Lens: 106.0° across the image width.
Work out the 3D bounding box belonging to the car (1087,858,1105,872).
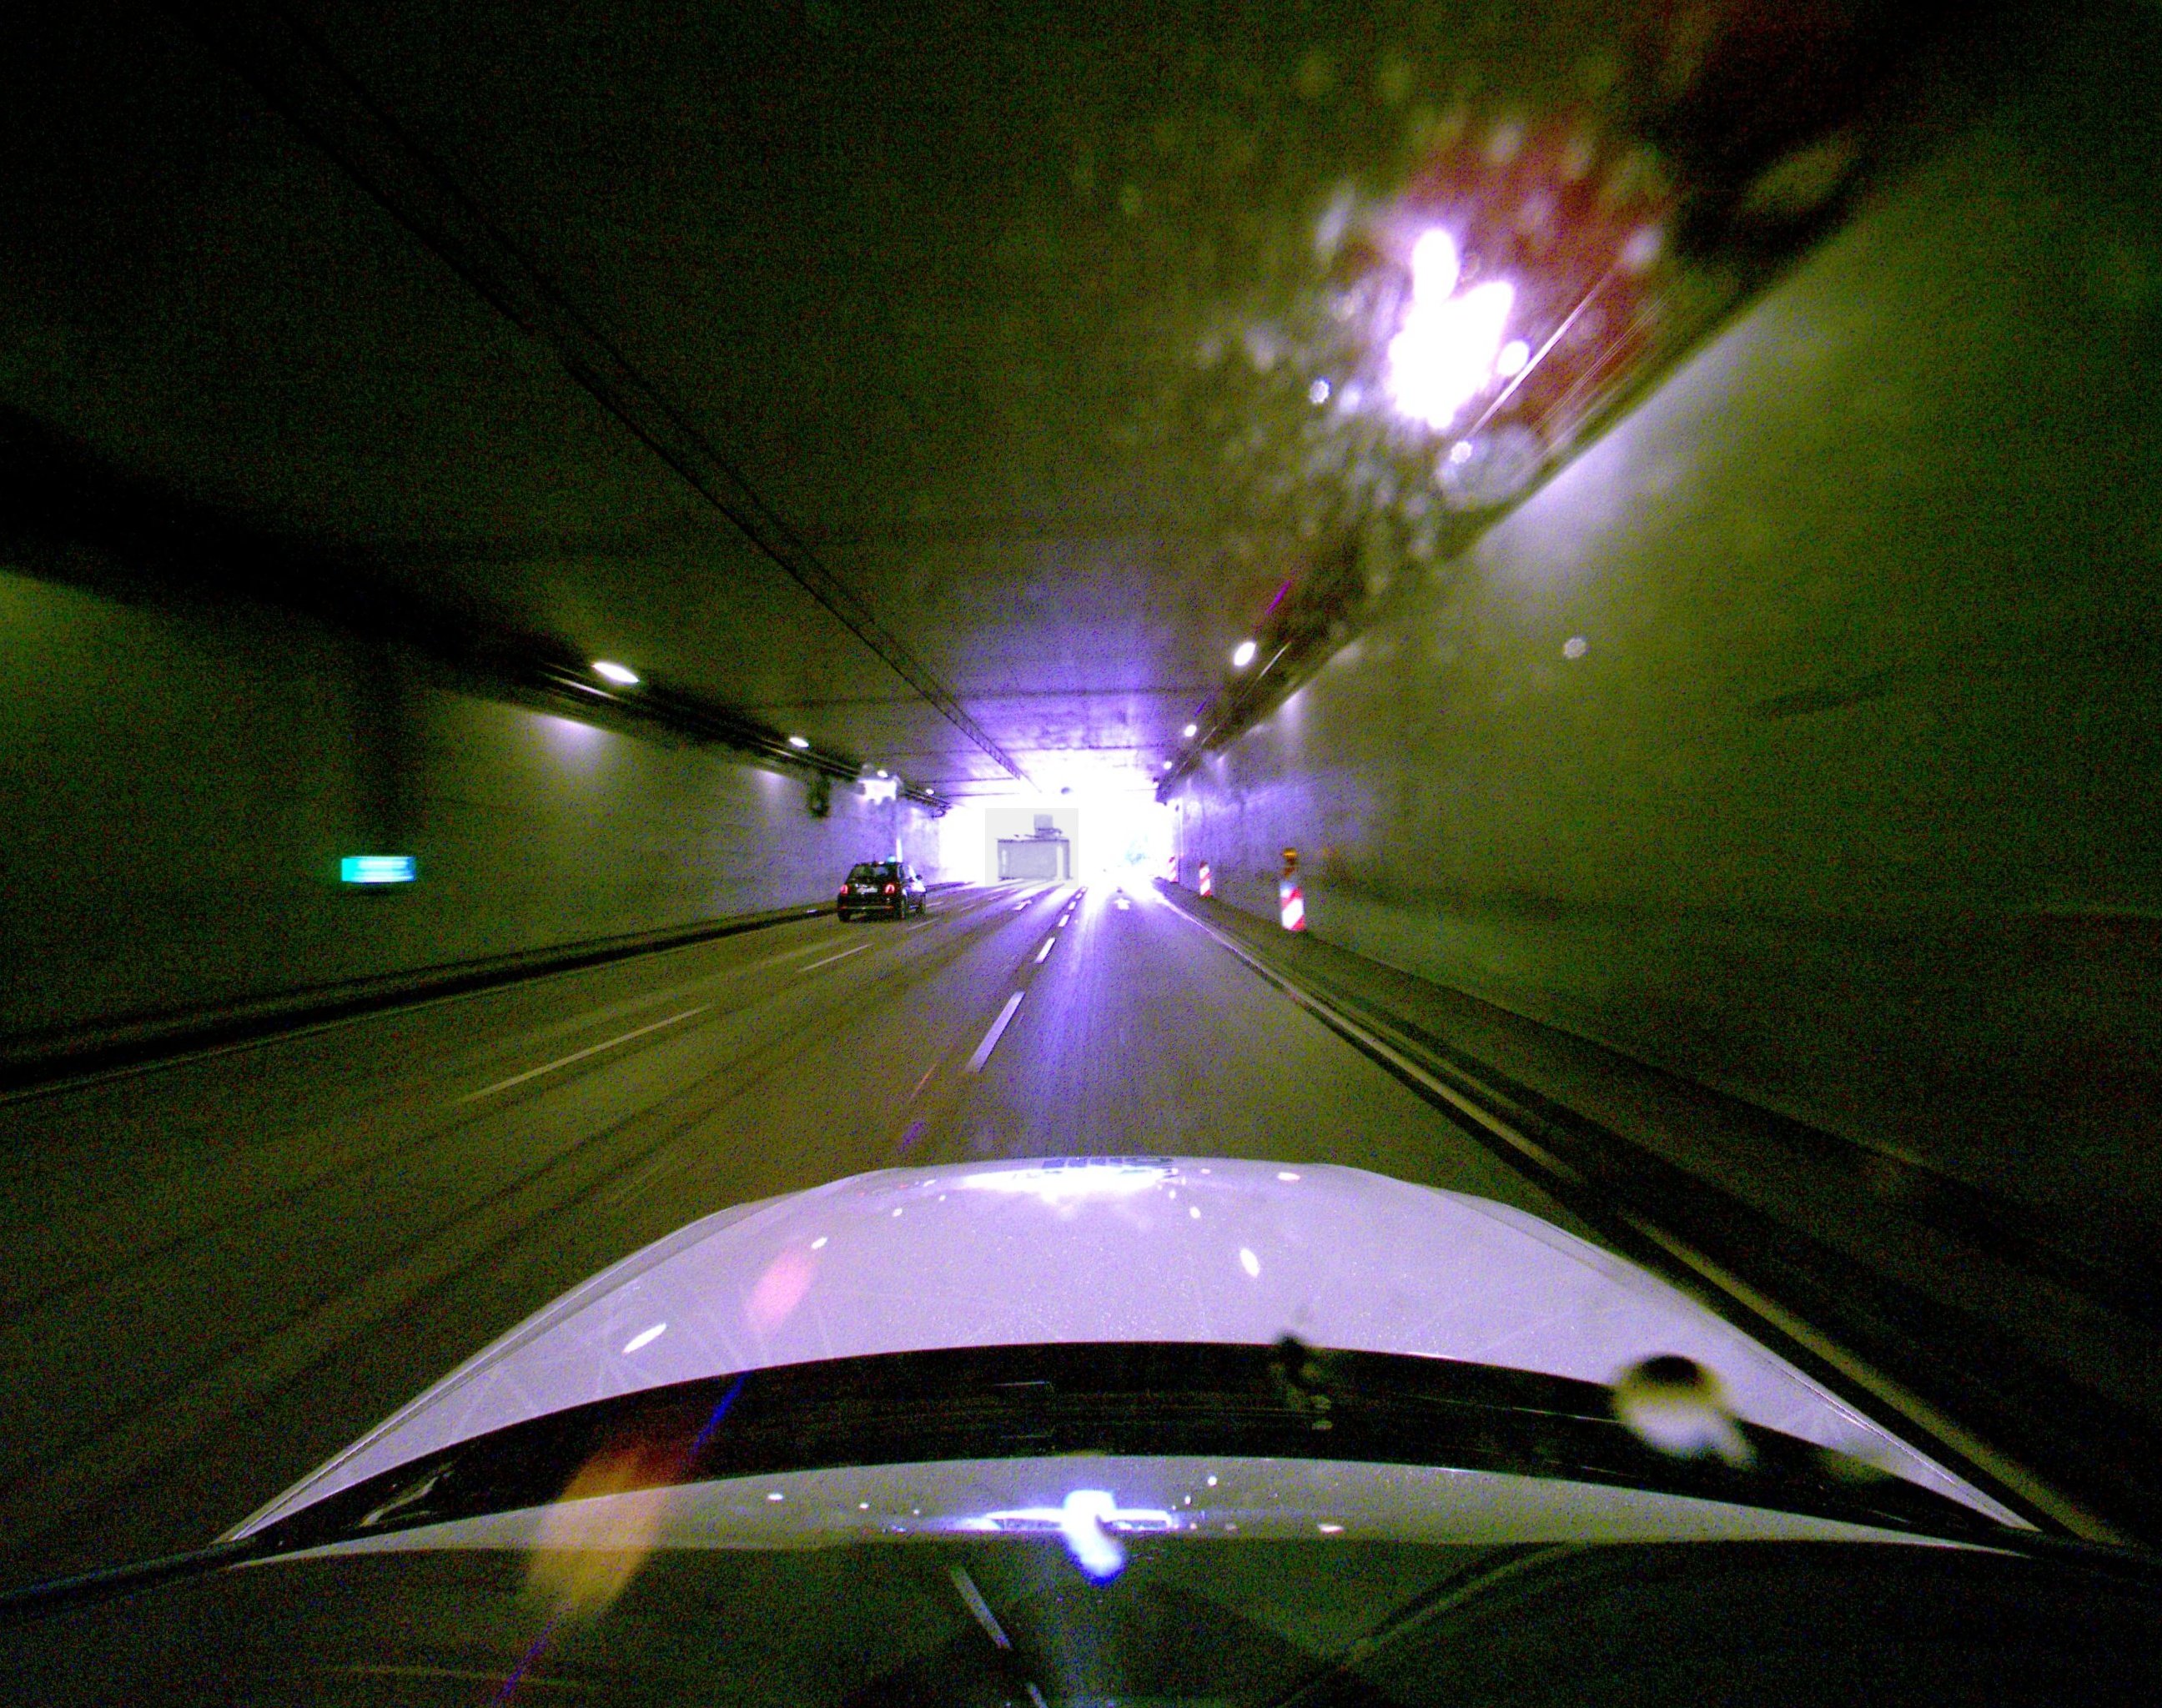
[{"bbox_3d":[1.703,1.271,93.235,1.987,1.448,4.313,0,-2,0],"label":"car"}]

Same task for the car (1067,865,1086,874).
[{"bbox_3d":[-0.945,2.873,153.046,1.903,1.514,3.962,0,0,-29],"label":"car"}]

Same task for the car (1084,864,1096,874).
[{"bbox_3d":[1.670,2.682,145.325,1.883,1.684,4.005,0,0,4],"label":"car"}]

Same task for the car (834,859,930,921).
[{"bbox_3d":[-5.152,0.889,21.527,1.607,1.454,3.573,-1,0,0],"label":"car"}]

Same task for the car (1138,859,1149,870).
[{"bbox_3d":[12.484,2.142,163.010,1.986,2.014,4.001,1,-1,2],"label":"car"}]
